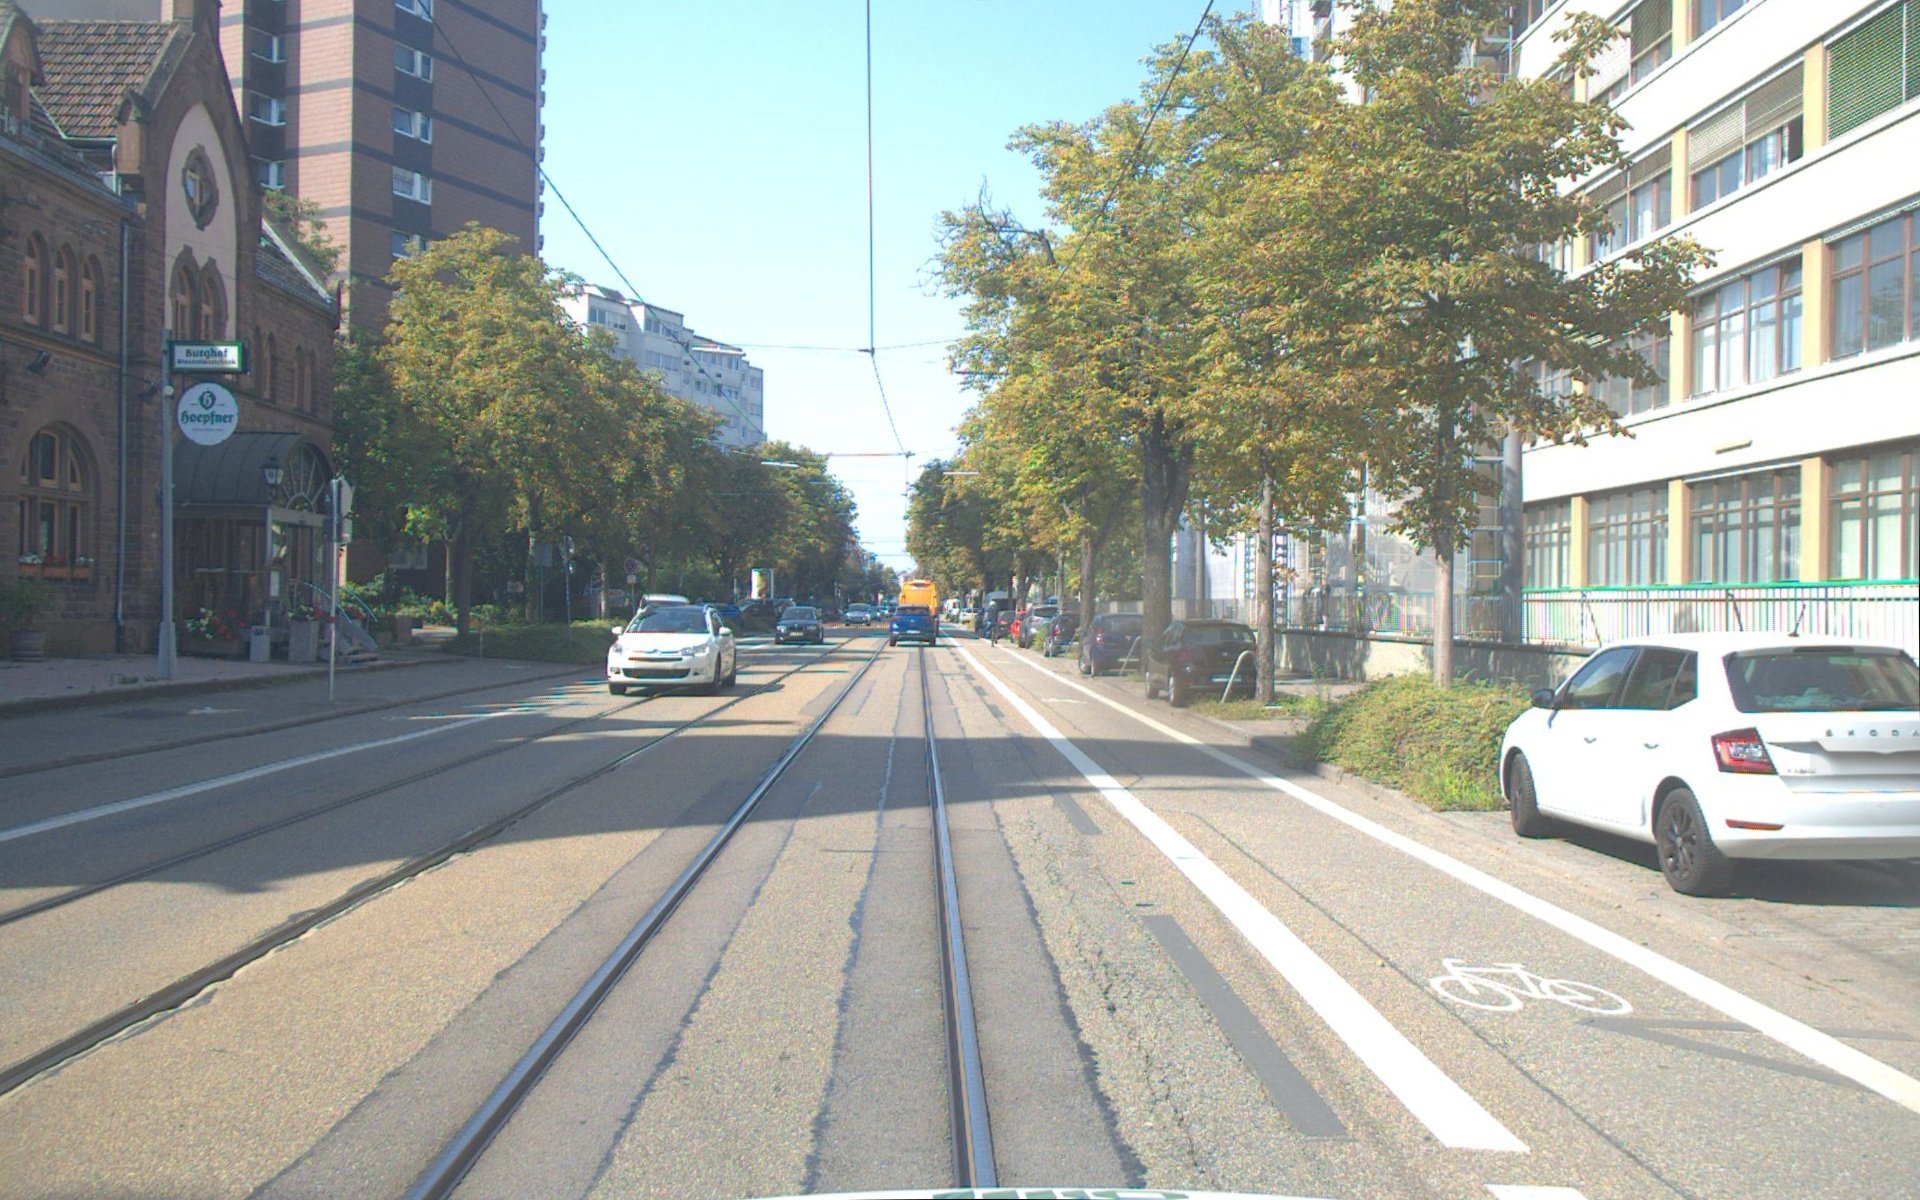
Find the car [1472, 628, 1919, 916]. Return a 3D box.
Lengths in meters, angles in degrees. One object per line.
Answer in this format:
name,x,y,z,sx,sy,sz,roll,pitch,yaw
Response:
car,4.898,0.953,10.974,1.625,1.507,4.215,0,-1,-1

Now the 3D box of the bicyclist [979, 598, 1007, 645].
bicyclist,1.310,0.837,65.649,1.011,1.844,1.016,1,-1,-2

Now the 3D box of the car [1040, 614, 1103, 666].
car,3.595,1.271,53.970,1.601,1.612,4.186,1,0,-3

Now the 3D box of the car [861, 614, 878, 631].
car,-8.830,2.199,161.285,1.601,1.612,4.186,1,0,-3

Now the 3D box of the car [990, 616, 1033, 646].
car,2.609,1.577,84.557,1.870,1.457,4.290,1,0,-3

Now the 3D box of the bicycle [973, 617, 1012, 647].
bicycle,1.269,1.257,65.670,1.373,1.154,3.999,1,0,-2

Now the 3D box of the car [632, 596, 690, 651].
car,-10.462,0.802,57.767,1.717,1.828,3.985,1,-1,-14

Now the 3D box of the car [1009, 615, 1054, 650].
car,3.179,1.448,74.434,1.705,1.488,3.682,1,0,-3

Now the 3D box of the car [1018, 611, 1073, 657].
car,3.258,1.283,64.055,1.705,1.697,4.359,1,0,-3

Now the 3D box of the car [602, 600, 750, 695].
car,-4.904,0.780,29.213,1.809,1.518,4.866,1,0,-1

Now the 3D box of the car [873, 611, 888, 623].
car,-10.371,2.197,215.557,1.860,1.589,4.120,1,0,-3

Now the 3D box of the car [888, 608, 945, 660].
car,-1.641,1.260,63.259,2.092,1.891,5.566,0,0,-1

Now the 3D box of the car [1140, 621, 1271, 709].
car,4.277,1.090,29.339,1.625,1.432,4.215,0,-1,-1

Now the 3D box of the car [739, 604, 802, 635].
car,-12.970,1.348,113.308,3.970,2.049,1.826,2,-1,-45

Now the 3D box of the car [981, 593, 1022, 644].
car,2.341,1.029,95.149,1.953,2.804,5.758,1,0,-2

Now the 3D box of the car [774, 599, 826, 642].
car,-6.175,0.796,64.265,1.647,1.599,4.205,1,0,-1

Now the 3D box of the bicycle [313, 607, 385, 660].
bicycle,-14.114,0.768,38.197,1.423,1.112,0.399,4,-1,-6

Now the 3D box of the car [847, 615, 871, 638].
car,-7.584,1.969,124.610,1.744,1.713,4.345,1,-1,-3

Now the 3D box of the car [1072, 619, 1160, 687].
car,3.803,1.274,40.875,1.707,1.583,4.215,0,-1,-1

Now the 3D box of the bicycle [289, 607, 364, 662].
bicycle,-14.018,0.761,36.624,1.423,1.112,0.399,4,-1,-6

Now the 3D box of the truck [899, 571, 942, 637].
truck,-1.974,0.215,82.912,2.092,3.179,6.083,0,0,-1
